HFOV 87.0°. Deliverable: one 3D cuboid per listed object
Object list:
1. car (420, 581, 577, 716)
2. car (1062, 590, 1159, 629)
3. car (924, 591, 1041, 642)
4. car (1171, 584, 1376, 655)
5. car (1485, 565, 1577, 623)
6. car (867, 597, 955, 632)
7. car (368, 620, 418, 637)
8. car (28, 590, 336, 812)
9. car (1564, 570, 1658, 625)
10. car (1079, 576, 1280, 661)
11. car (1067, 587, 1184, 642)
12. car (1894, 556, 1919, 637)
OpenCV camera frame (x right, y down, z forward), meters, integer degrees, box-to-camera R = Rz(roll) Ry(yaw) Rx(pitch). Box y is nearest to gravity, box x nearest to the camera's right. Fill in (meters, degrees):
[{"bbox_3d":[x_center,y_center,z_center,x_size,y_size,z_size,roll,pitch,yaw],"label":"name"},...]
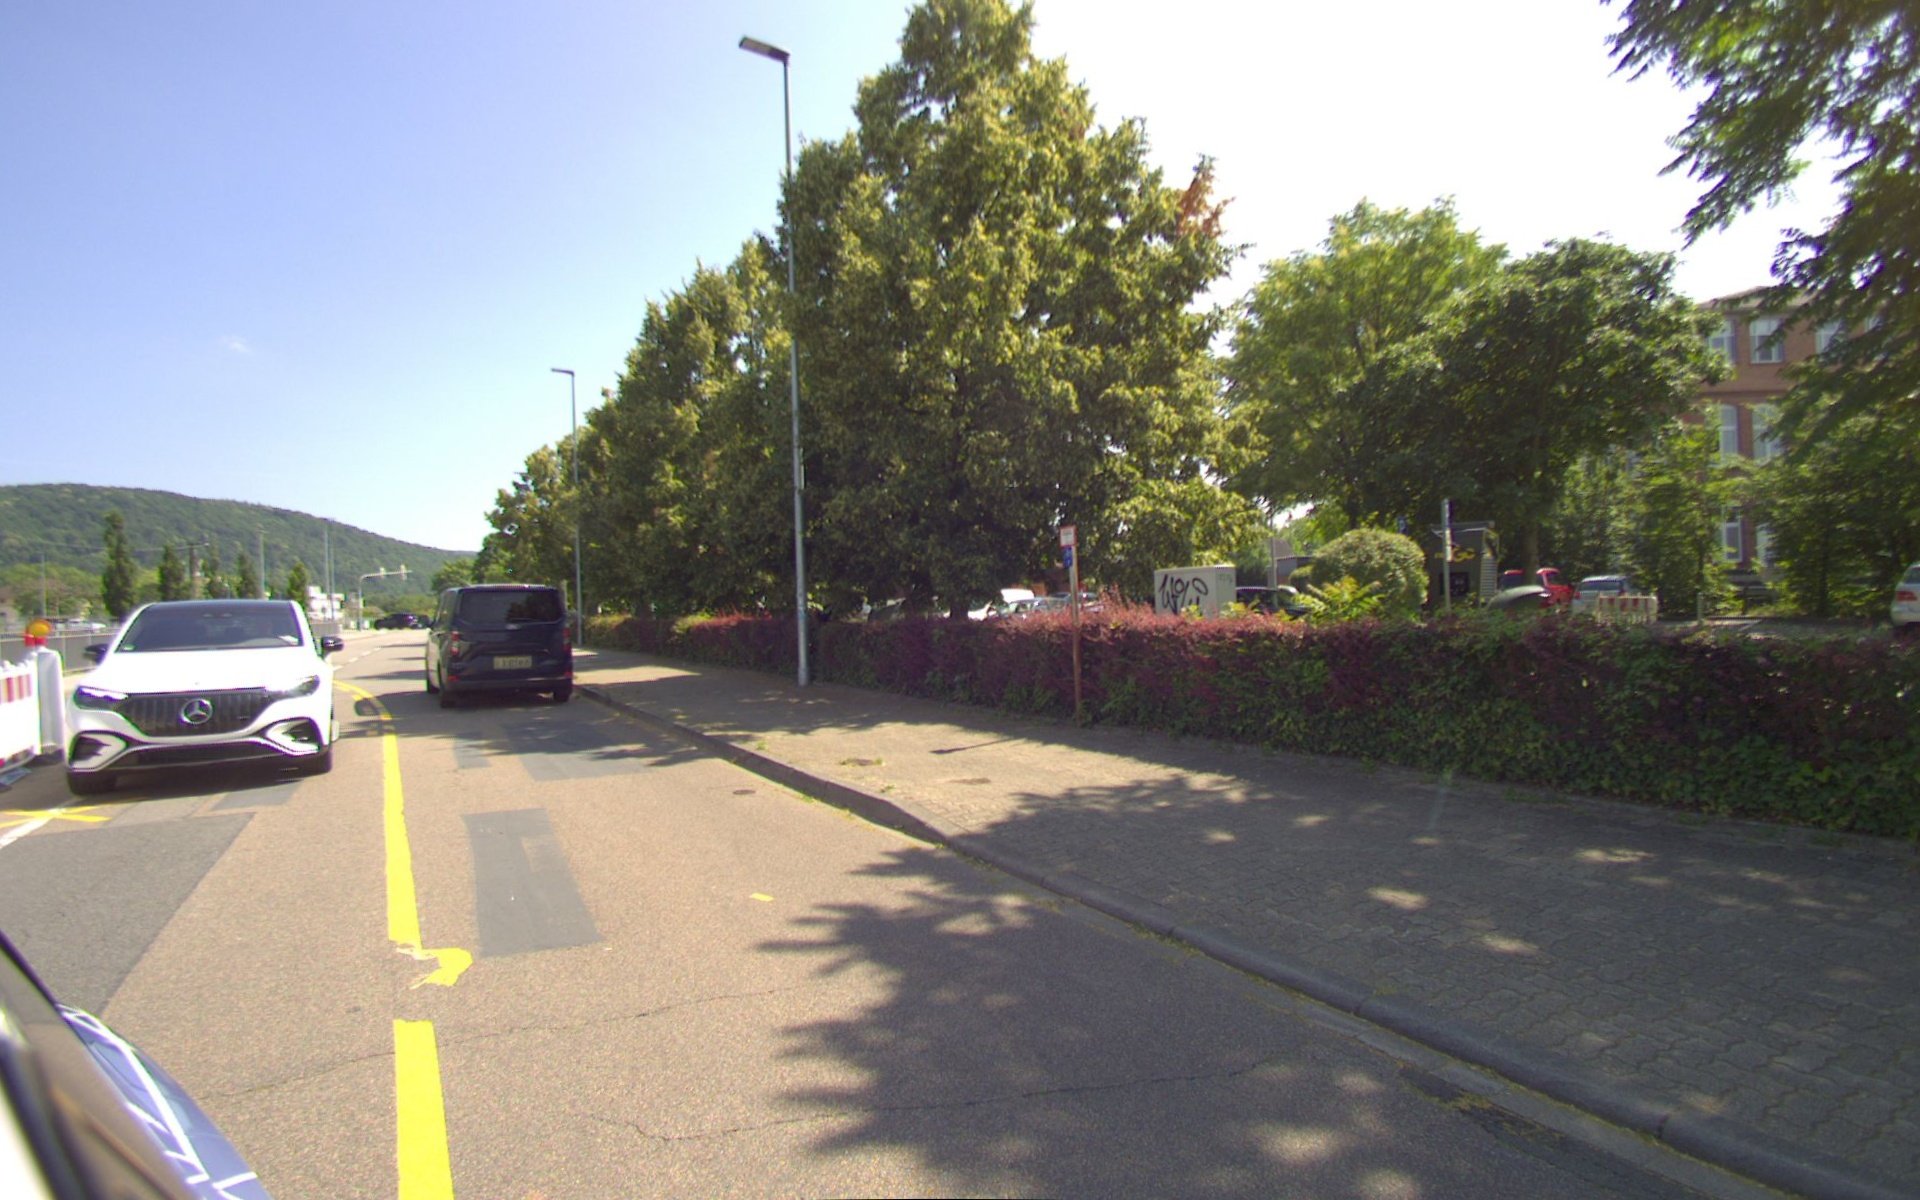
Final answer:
[{"bbox_3d":[-8.306,0.747,17.878,2.146,1.983,5.461,-1,-1,-28],"label":"car"},{"bbox_3d":[7.150,0.471,48.377,1.835,1.698,4.371,-5,2,-43],"label":"car"},{"bbox_3d":[0.882,0.584,37.205,1.863,1.698,4.250,-2,0,44],"label":"car"},{"bbox_3d":[7.085,0.452,23.305,1.830,1.464,4.380,0,-1,-31],"label":"car"},{"bbox_3d":[19.854,-0.233,35.114,1.774,1.747,3.943,-6,-1,43],"label":"car"},{"bbox_3d":[-2.366,0.704,48.471,4.144,1.563,1.893,-2,0,45],"label":"car"},{"bbox_3d":[-57.369,2.850,102.440,4.492,1.657,1.988,-1,0,19],"label":"car"},{"bbox_3d":[-7.672,0.833,10.507,1.966,1.657,5.046,-2,0,-32],"label":"car"},{"bbox_3d":[20.369,-0.106,31.604,1.774,1.486,3.945,-4,-1,42],"label":"car"},{"bbox_3d":[4.720,0.415,22.439,1.830,1.698,4.380,0,-1,-31],"label":"car"},{"bbox_3d":[5.738,0.469,34.725,1.862,1.698,4.305,-2,0,43],"label":"car"},{"bbox_3d":[20.799,-0.158,20.835,3.937,1.584,1.777,-3,0,-40],"label":"car"}]
